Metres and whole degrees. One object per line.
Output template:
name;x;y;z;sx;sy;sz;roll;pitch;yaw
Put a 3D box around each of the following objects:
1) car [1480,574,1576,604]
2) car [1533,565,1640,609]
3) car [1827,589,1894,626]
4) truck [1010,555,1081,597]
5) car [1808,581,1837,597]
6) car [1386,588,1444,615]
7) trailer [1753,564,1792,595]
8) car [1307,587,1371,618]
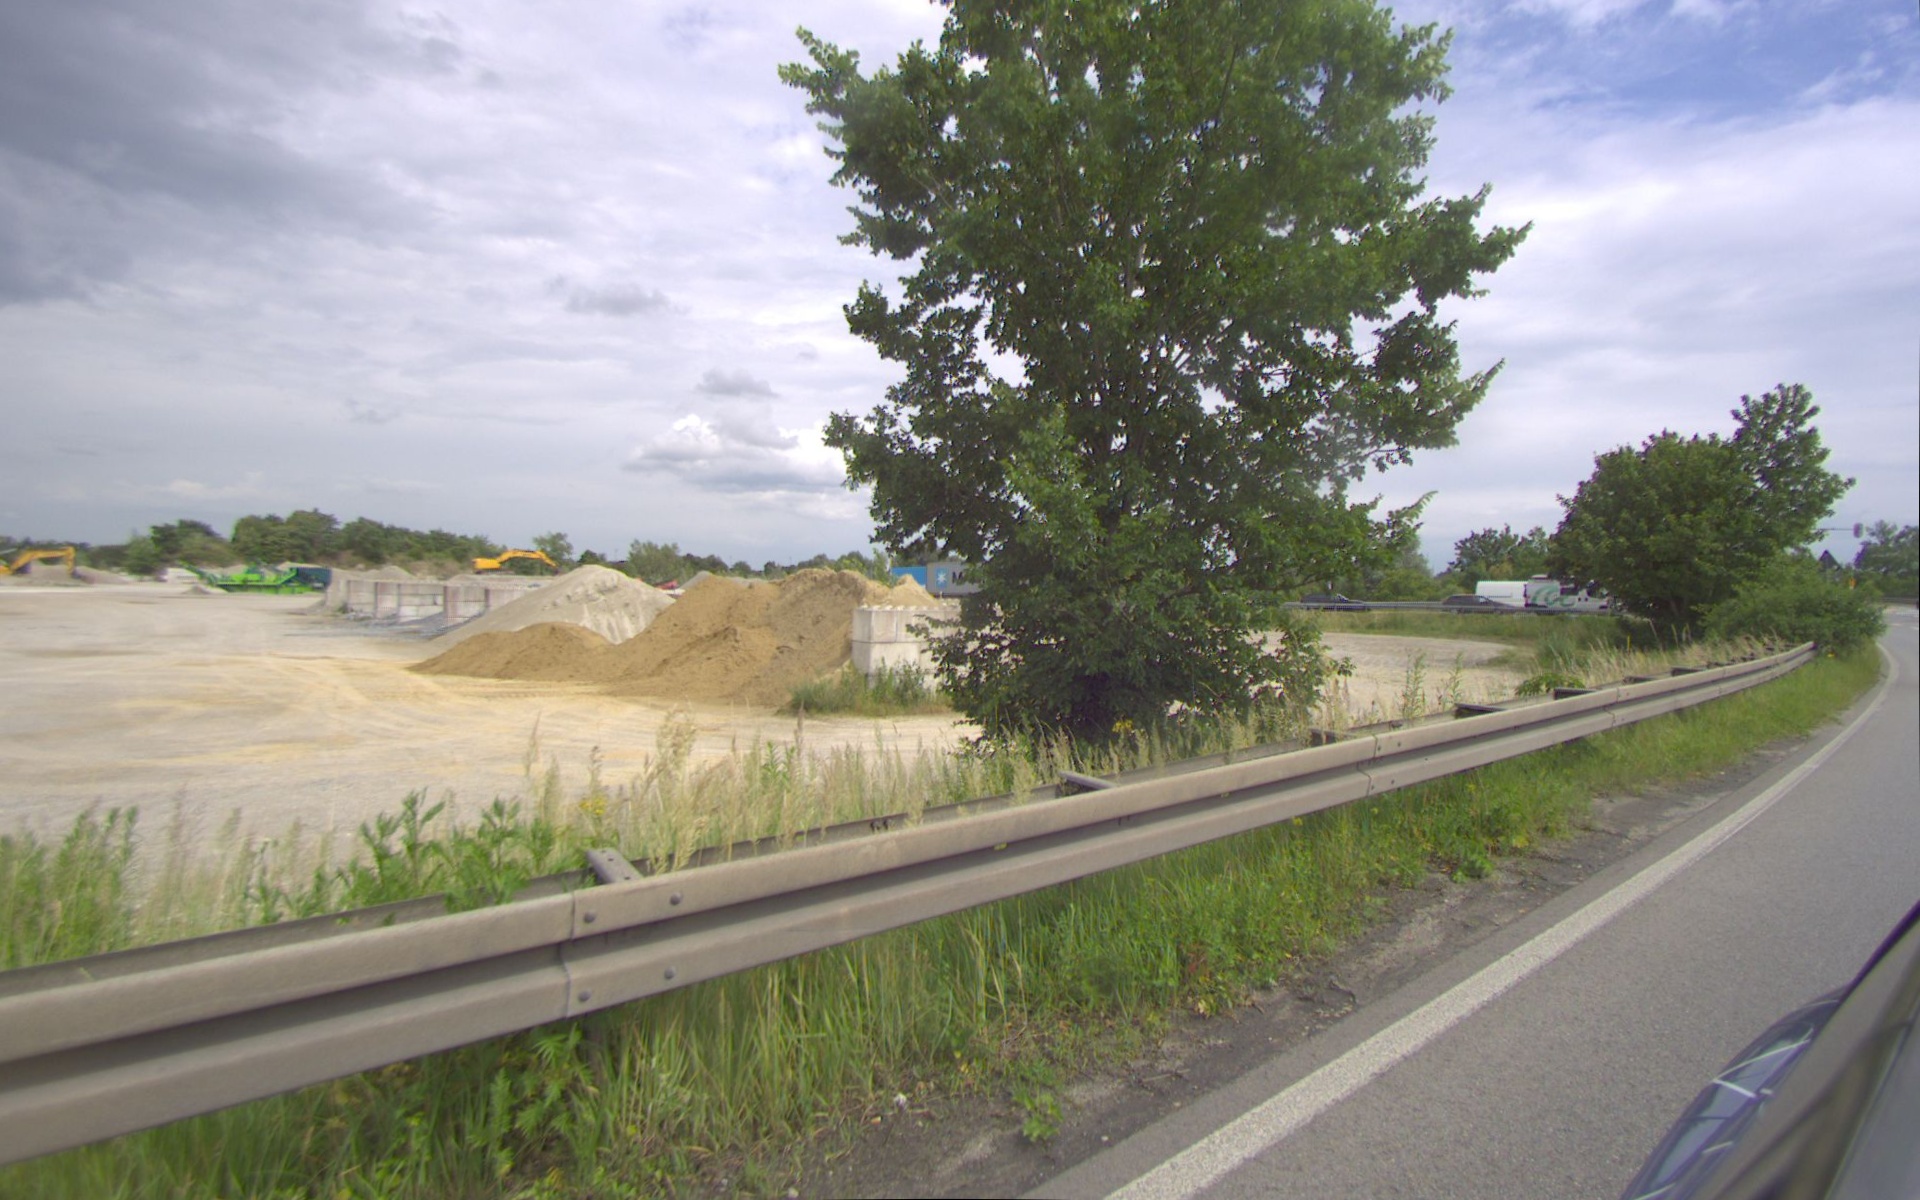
car;40.363;-0.788;71.997;5.855;2.039;2.036;0;-1;34
car;39.121;-0.817;63.247;5.394;2.599;2.424;2;0;40
car;42.364;0.349;47.694;2.011;1.633;4.222;0;0;37
truck;7.064;-1.961;84.350;5.565;3.347;2.359;-1;-1;38
car;110.310;-1.445;129.486;1.982;2.039;3.960;0;0;28
car;35.880;0.127;79.817;3.971;2.039;1.908;0;-1;34
trailer;123.531;-3.067;153.980;3.470;4.571;10.819;0;0;32
car;26.850;0.181;71.716;3.972;2.039;1.908;2;0;34
